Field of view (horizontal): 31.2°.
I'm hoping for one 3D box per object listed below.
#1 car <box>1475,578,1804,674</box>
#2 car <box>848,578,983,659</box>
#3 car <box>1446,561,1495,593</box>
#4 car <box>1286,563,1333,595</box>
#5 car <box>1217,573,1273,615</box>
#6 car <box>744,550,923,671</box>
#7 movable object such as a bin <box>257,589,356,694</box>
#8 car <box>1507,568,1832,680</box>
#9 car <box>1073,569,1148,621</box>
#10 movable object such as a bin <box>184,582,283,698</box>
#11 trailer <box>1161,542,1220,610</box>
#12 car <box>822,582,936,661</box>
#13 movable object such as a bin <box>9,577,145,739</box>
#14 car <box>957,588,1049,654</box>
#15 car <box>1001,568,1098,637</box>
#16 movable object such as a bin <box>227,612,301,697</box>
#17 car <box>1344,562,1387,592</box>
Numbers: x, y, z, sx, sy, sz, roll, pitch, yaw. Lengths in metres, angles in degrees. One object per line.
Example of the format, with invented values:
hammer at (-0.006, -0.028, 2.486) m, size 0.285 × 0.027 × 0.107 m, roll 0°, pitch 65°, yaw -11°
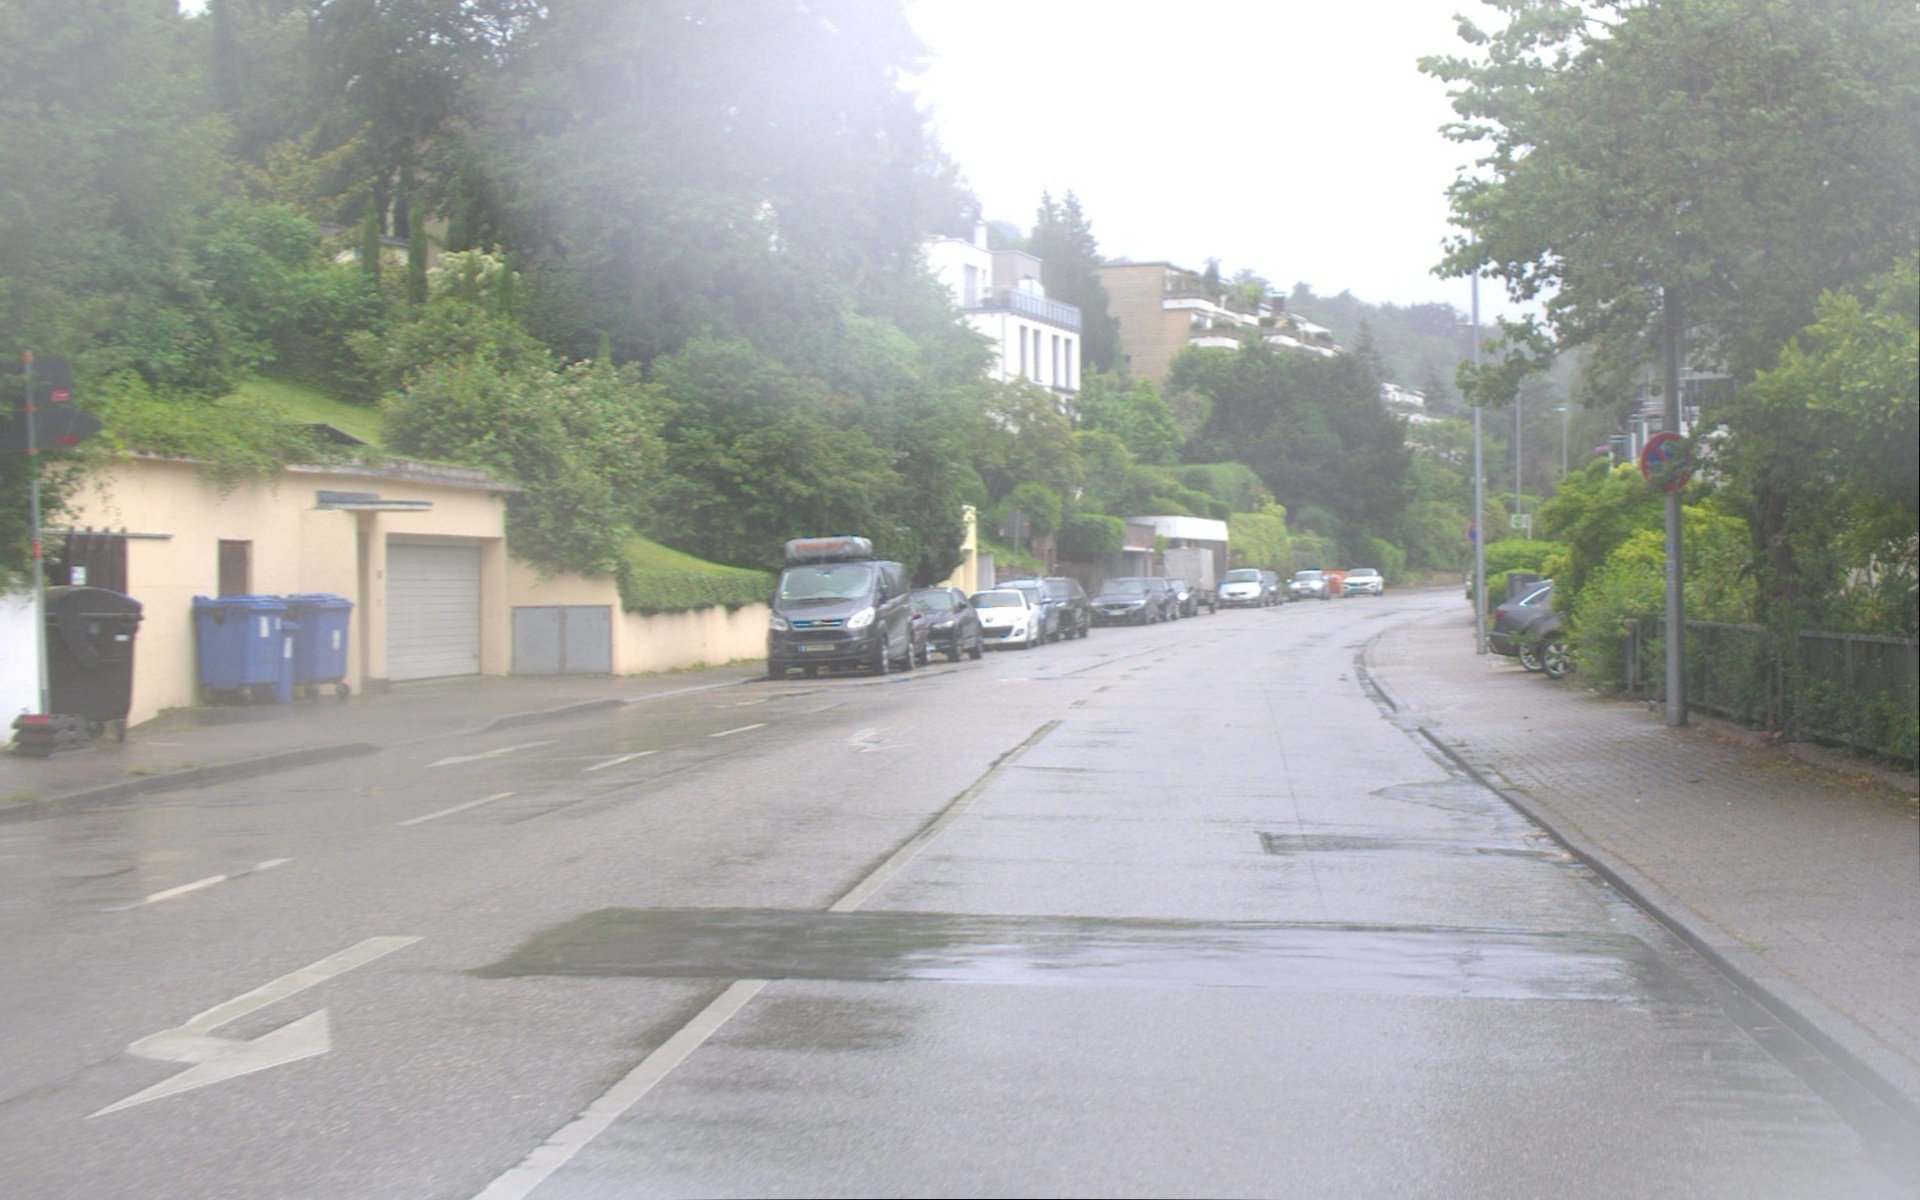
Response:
car at (9.979, 0.375, 50.686) m, size 4.378 × 1.360 × 1.915 m, roll 0°, pitch -1°, yaw 40°
car at (-0.859, 0.345, 69.341) m, size 1.909 × 1.475 × 4.754 m, roll -3°, pitch 0°, yaw 9°
car at (23.916, -1.071, 161.102) m, size 1.790 × 1.455 × 4.305 m, roll 0°, pitch 0°, yaw 15°
car at (16.452, -0.993, 161.803) m, size 1.756 × 1.398 × 3.768 m, roll -3°, pitch 0°, yaw 12°
car at (11.588, -0.236, 139.530) m, size 1.756 × 1.534 × 3.755 m, roll -4°, pitch 0°, yaw 11°
car at (-2.097, 0.159, 58.624) m, size 2.159 × 1.912 × 5.322 m, roll -2°, pitch 0°, yaw 7°
movable object such as a bin at (-8.411, 0.518, 44.293) m, size 0.820 × 1.310 × 1.401 m, roll 0°, pitch 1°, yaw 10°
car at (9.695, 0.302, 47.128) m, size 3.996 × 1.452 × 1.768 m, roll 0°, pitch 1°, yaw 40°
car at (4.749, -0.180, 107.900) m, size 1.786 × 1.450 × 4.754 m, roll -3°, pitch 1°, yaw 9°
movable object such as a bin at (-8.894, 0.479, 42.117) m, size 0.820 × 1.377 × 1.134 m, roll 0°, pitch 1°, yaw 10°
trailer at (8.452, -0.903, 125.774) m, size 1.537 × 2.391 × 3.071 m, roll -3°, pitch 0°, yaw 14°
car at (-1.469, 0.381, 63.744) m, size 1.565 × 1.360 × 3.906 m, roll -2°, pitch 0°, yaw 6°
movable object such as a bin at (-8.211, 0.536, 31.987) m, size 0.932 × 1.440 × 0.861 m, roll 3°, pitch -1°, yaw 4°
car at (1.028, 0.470, 80.203) m, size 1.716 × 1.361 × 4.083 m, roll -3°, pitch 1°, yaw 6°
car at (2.379, 0.042, 90.065) m, size 1.875 × 1.620 × 4.591 m, roll -4°, pitch 1°, yaw 9°
movable object such as a bin at (-8.705, 0.674, 43.020) m, size 0.736 × 1.038 × 0.607 m, roll 0°, pitch 0°, yaw 10°
car at (21.284, -1.199, 180.351) m, size 1.757 × 1.493 × 4.218 m, roll -2°, pitch 0°, yaw 12°
